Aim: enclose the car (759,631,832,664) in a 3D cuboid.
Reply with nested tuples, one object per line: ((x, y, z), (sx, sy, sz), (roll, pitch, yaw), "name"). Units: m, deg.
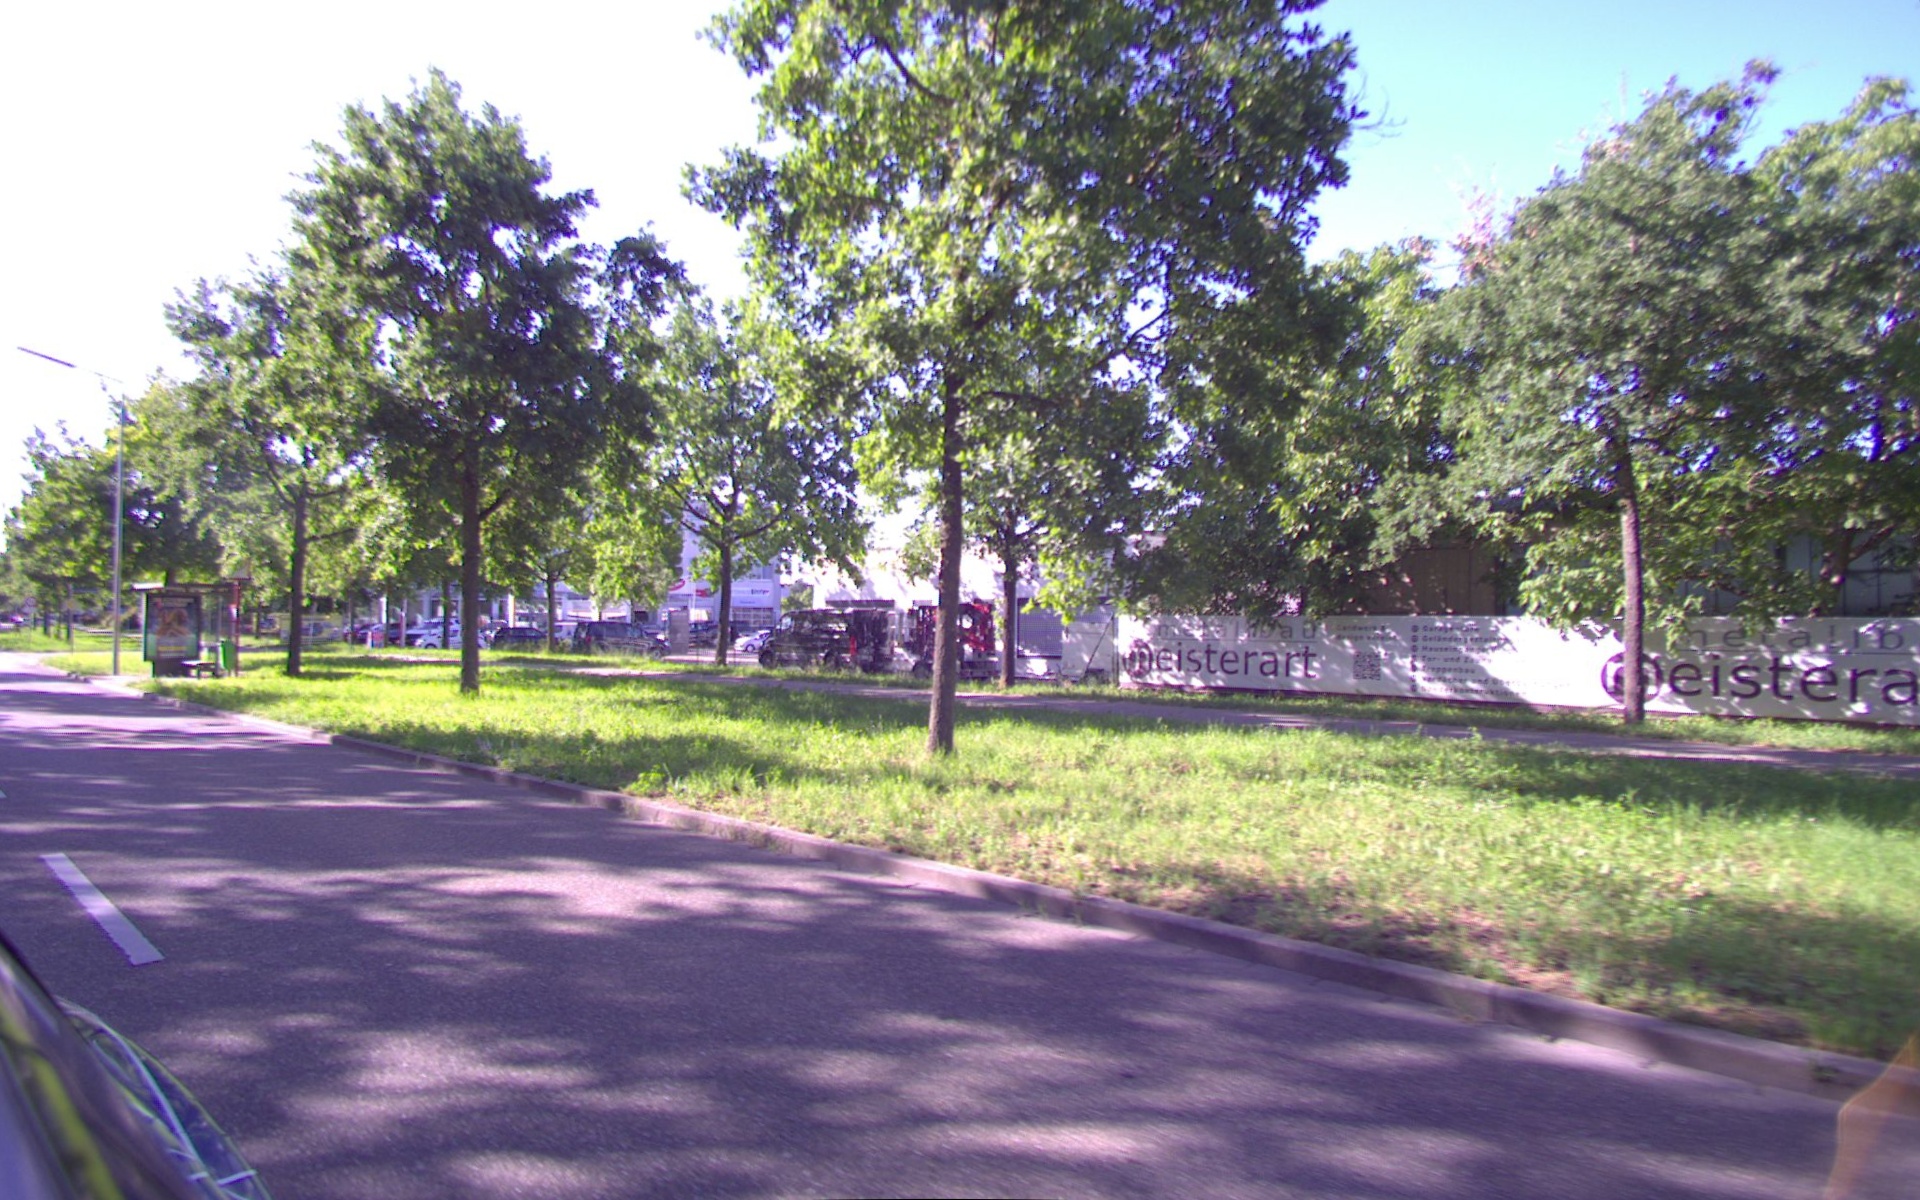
((-10.175, 2.933, 62.628), (3.932, 1.852, 2.006), (-1, 0, -33), "car")

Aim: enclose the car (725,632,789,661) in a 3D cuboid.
((-14.268, 3.212, 71.089), (3.932, 1.851, 2.006), (-1, 0, -31), "car")

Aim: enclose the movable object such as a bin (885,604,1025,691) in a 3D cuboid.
((-0.198, 1.429, 32.068), (4.236, 2.535, 1.972), (-1, 0, 43), "movable object such as a bin")

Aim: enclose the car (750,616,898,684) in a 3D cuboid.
((-4.849, 1.695, 35.471), (5.670, 2.191, 1.972), (-1, -2, 42), "car")

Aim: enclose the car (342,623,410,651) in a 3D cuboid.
((-41.861, 2.649, 72.632), (1.984, 1.851, 3.976), (-1, 0, 18), "car")

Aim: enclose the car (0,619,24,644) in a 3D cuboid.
((-81.154, 2.668, 86.192), (1.969, 2.029, 4.005), (2, -2, -42), "car")

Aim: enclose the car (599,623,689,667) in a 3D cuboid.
((-14.848, 2.088, 47.567), (3.931, 2.029, 2.006), (1, -2, -19), "car")

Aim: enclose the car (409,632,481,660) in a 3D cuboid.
((-31.025, 2.731, 61.027), (3.827, 1.513, 2.006), (-1, 0, -28), "car")

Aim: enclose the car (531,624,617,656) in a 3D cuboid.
((-24.723, 2.555, 64.842), (4.963, 1.851, 2.007), (-1, 0, -26), "car")

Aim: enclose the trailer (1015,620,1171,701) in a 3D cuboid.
((3.567, 1.586, 27.540), (3.965, 2.029, 1.734), (-2, -2, 44), "trailer")

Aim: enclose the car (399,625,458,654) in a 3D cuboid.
((-36.858, 2.689, 70.276), (1.973, 1.851, 3.998), (-1, 0, 1), "car")

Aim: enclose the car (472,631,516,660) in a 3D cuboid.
((-33.138, 3.209, 72.086), (1.967, 1.851, 4.009), (-1, 0, -11), "car")
